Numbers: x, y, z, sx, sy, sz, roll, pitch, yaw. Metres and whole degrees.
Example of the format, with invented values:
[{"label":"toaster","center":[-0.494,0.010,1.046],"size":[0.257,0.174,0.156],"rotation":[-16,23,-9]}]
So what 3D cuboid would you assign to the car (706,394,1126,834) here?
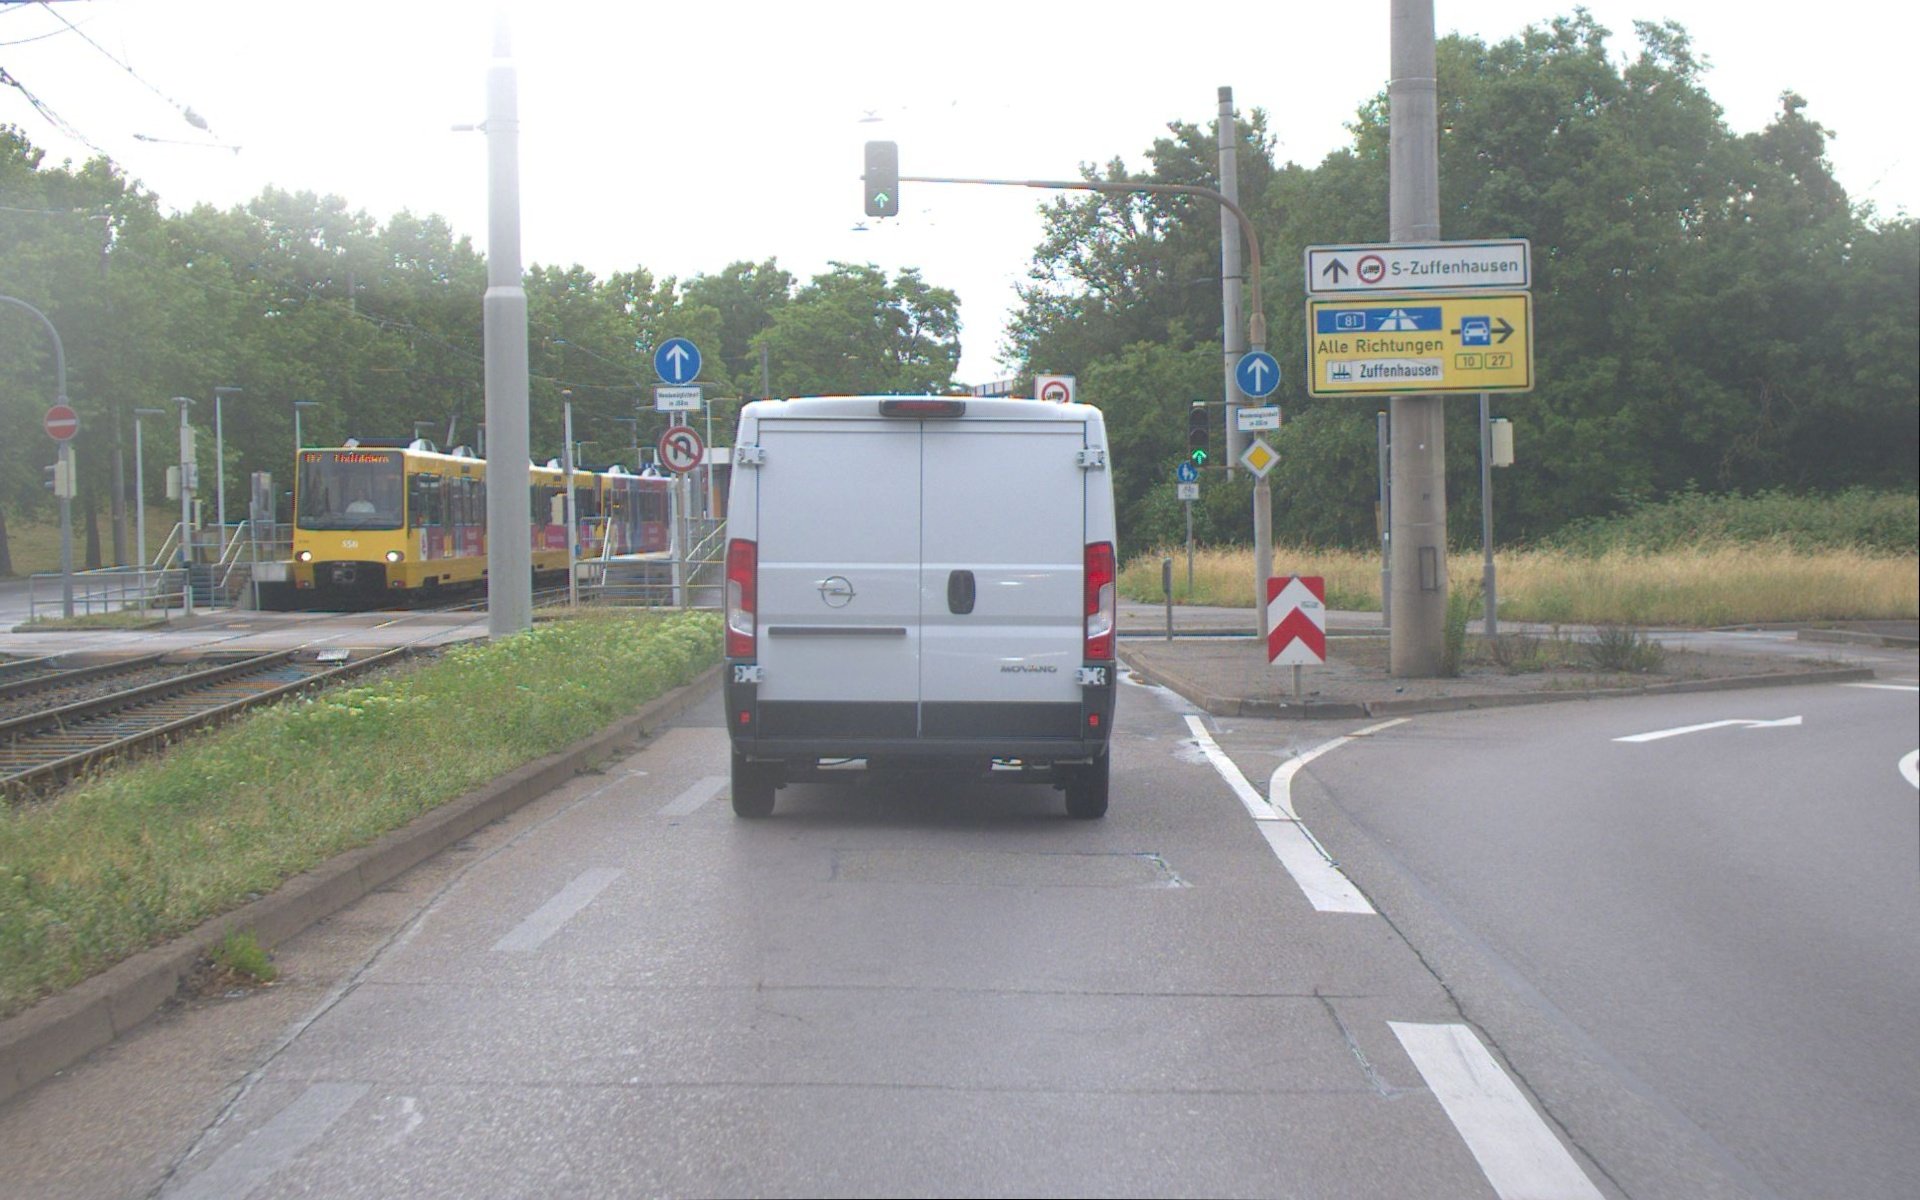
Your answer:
[{"label":"car","center":[-0.350,0.014,19.859],"size":[2.090,2.189,5.062],"rotation":[1,1,-3]}]

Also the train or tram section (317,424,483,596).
[{"label":"train or tram section","center":[-13.445,-2.154,83.069],"size":[2.928,3.919,7.006],"rotation":[1,1,-1]}]

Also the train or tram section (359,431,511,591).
[{"label":"train or tram section","center":[-13.572,-2.289,89.313],"size":[2.928,3.919,7.006],"rotation":[1,1,-1]}]

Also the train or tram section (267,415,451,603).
[{"label":"train or tram section","center":[-13.308,-2.016,76.689],"size":[2.928,3.919,7.006],"rotation":[1,1,-1]}]
